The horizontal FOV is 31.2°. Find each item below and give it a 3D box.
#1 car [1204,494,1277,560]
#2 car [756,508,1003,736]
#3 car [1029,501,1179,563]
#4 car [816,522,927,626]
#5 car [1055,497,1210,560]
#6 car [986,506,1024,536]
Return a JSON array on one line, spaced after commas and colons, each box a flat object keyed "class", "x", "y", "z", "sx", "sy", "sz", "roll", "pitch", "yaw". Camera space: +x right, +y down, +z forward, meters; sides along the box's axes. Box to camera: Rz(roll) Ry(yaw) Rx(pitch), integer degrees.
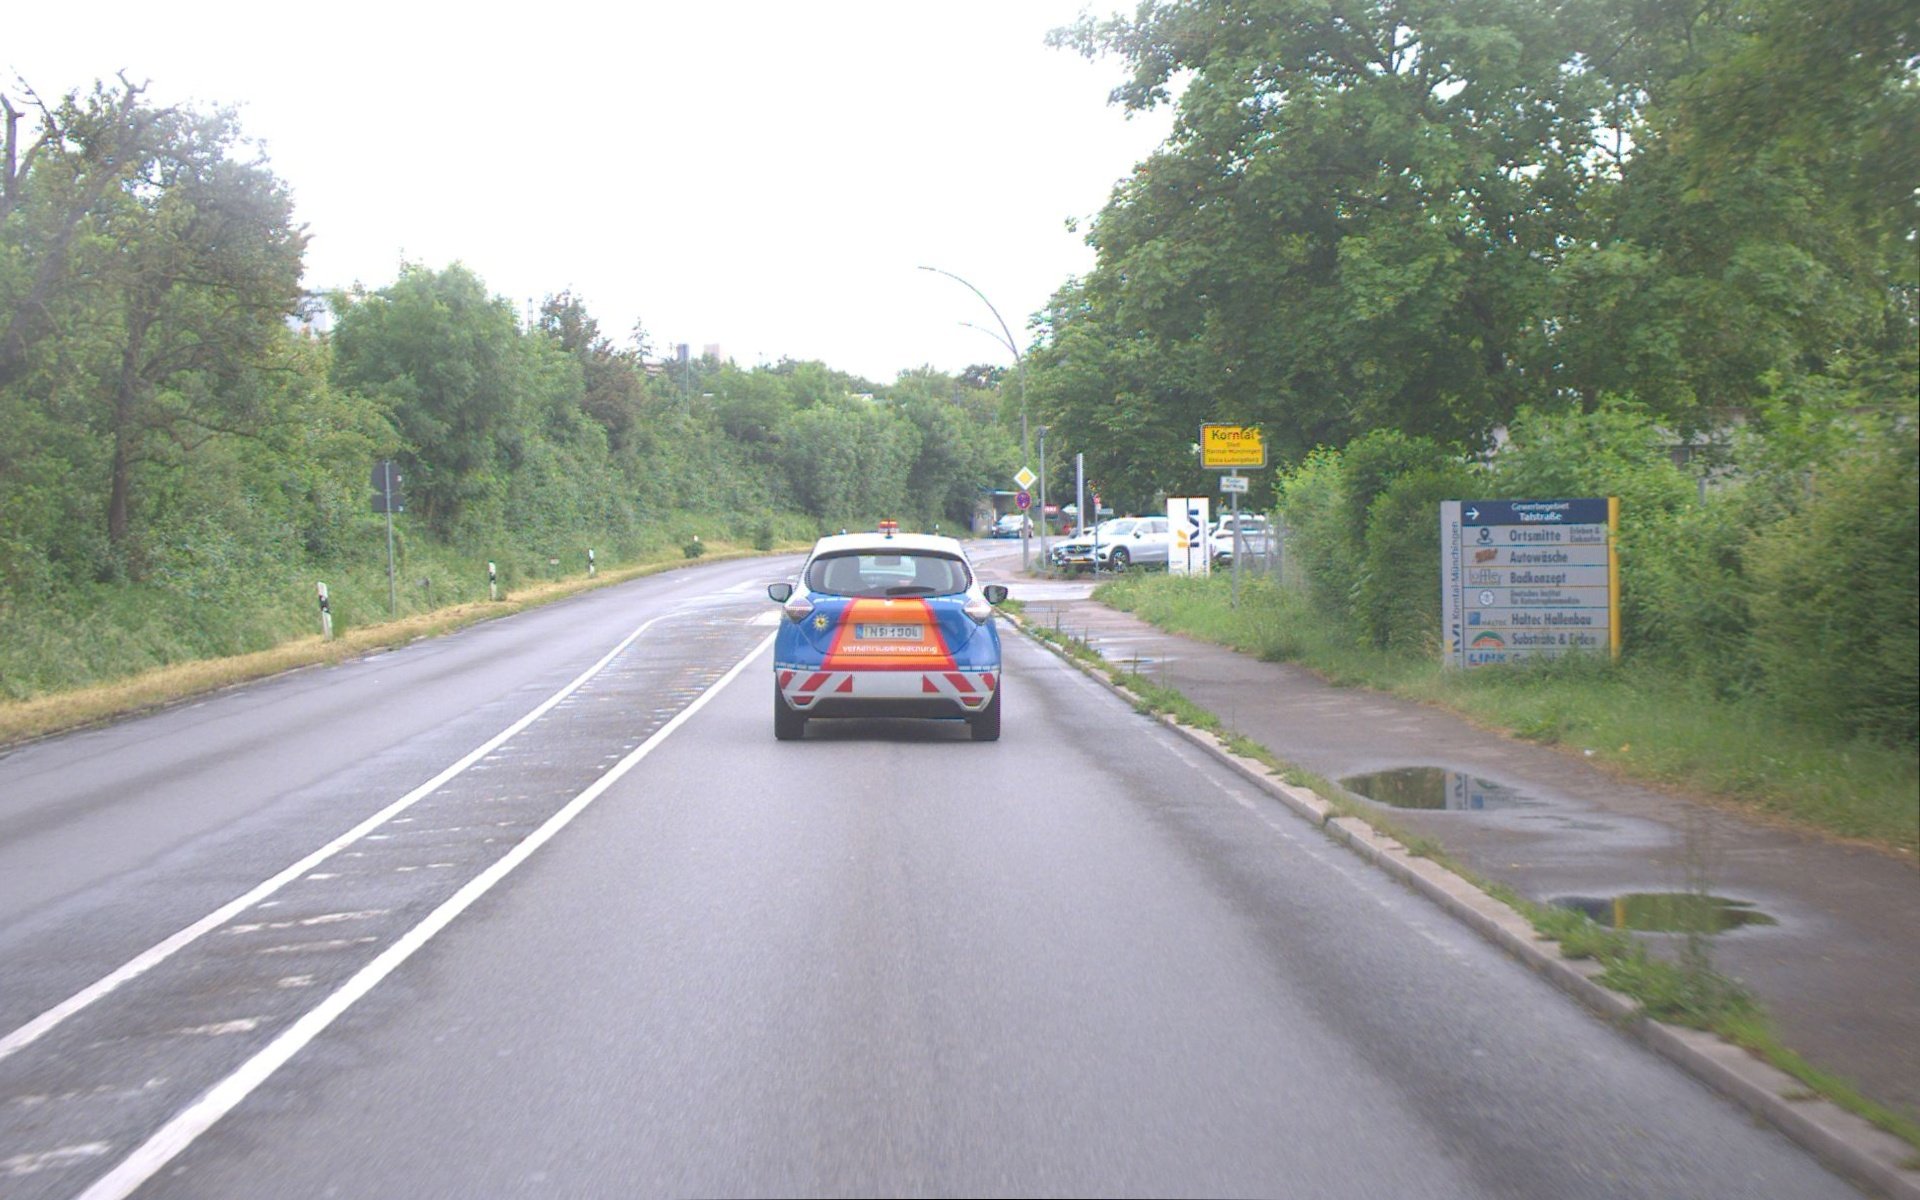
[{"class": "car", "x": 8.096, "y": -2.105, "z": 99.568, "sx": 1.826, "sy": 1.823, "sz": 4.264, "roll": 1, "pitch": 1, "yaw": 1}, {"class": "car", "x": -0.636, "y": 0.137, "z": 27.094, "sx": 1.805, "sy": 1.662, "sz": 3.856, "roll": 0, "pitch": 1, "yaw": -1}, {"class": "car", "x": 4.449, "y": -2.061, "z": 105.392, "sx": 2.034, "sy": 1.745, "sz": 4.606, "roll": 0, "pitch": -1, "yaw": 44}, {"class": "car", "x": -1.417, "y": -0.431, "z": 55.578, "sx": 1.694, "sy": 1.590, "sz": 3.856, "roll": 1, "pitch": 1, "yaw": -1}, {"class": "car", "x": 5.155, "y": -2.110, "z": 102.434, "sx": 2.034, "sy": 1.745, "sz": 4.606, "roll": 2, "pitch": 1, "yaw": 44}, {"class": "car", "x": 2.849, "y": -4.932, "z": 216.207, "sx": 1.695, "sy": 1.784, "sz": 3.854, "roll": 2, "pitch": 1, "yaw": 11}]
